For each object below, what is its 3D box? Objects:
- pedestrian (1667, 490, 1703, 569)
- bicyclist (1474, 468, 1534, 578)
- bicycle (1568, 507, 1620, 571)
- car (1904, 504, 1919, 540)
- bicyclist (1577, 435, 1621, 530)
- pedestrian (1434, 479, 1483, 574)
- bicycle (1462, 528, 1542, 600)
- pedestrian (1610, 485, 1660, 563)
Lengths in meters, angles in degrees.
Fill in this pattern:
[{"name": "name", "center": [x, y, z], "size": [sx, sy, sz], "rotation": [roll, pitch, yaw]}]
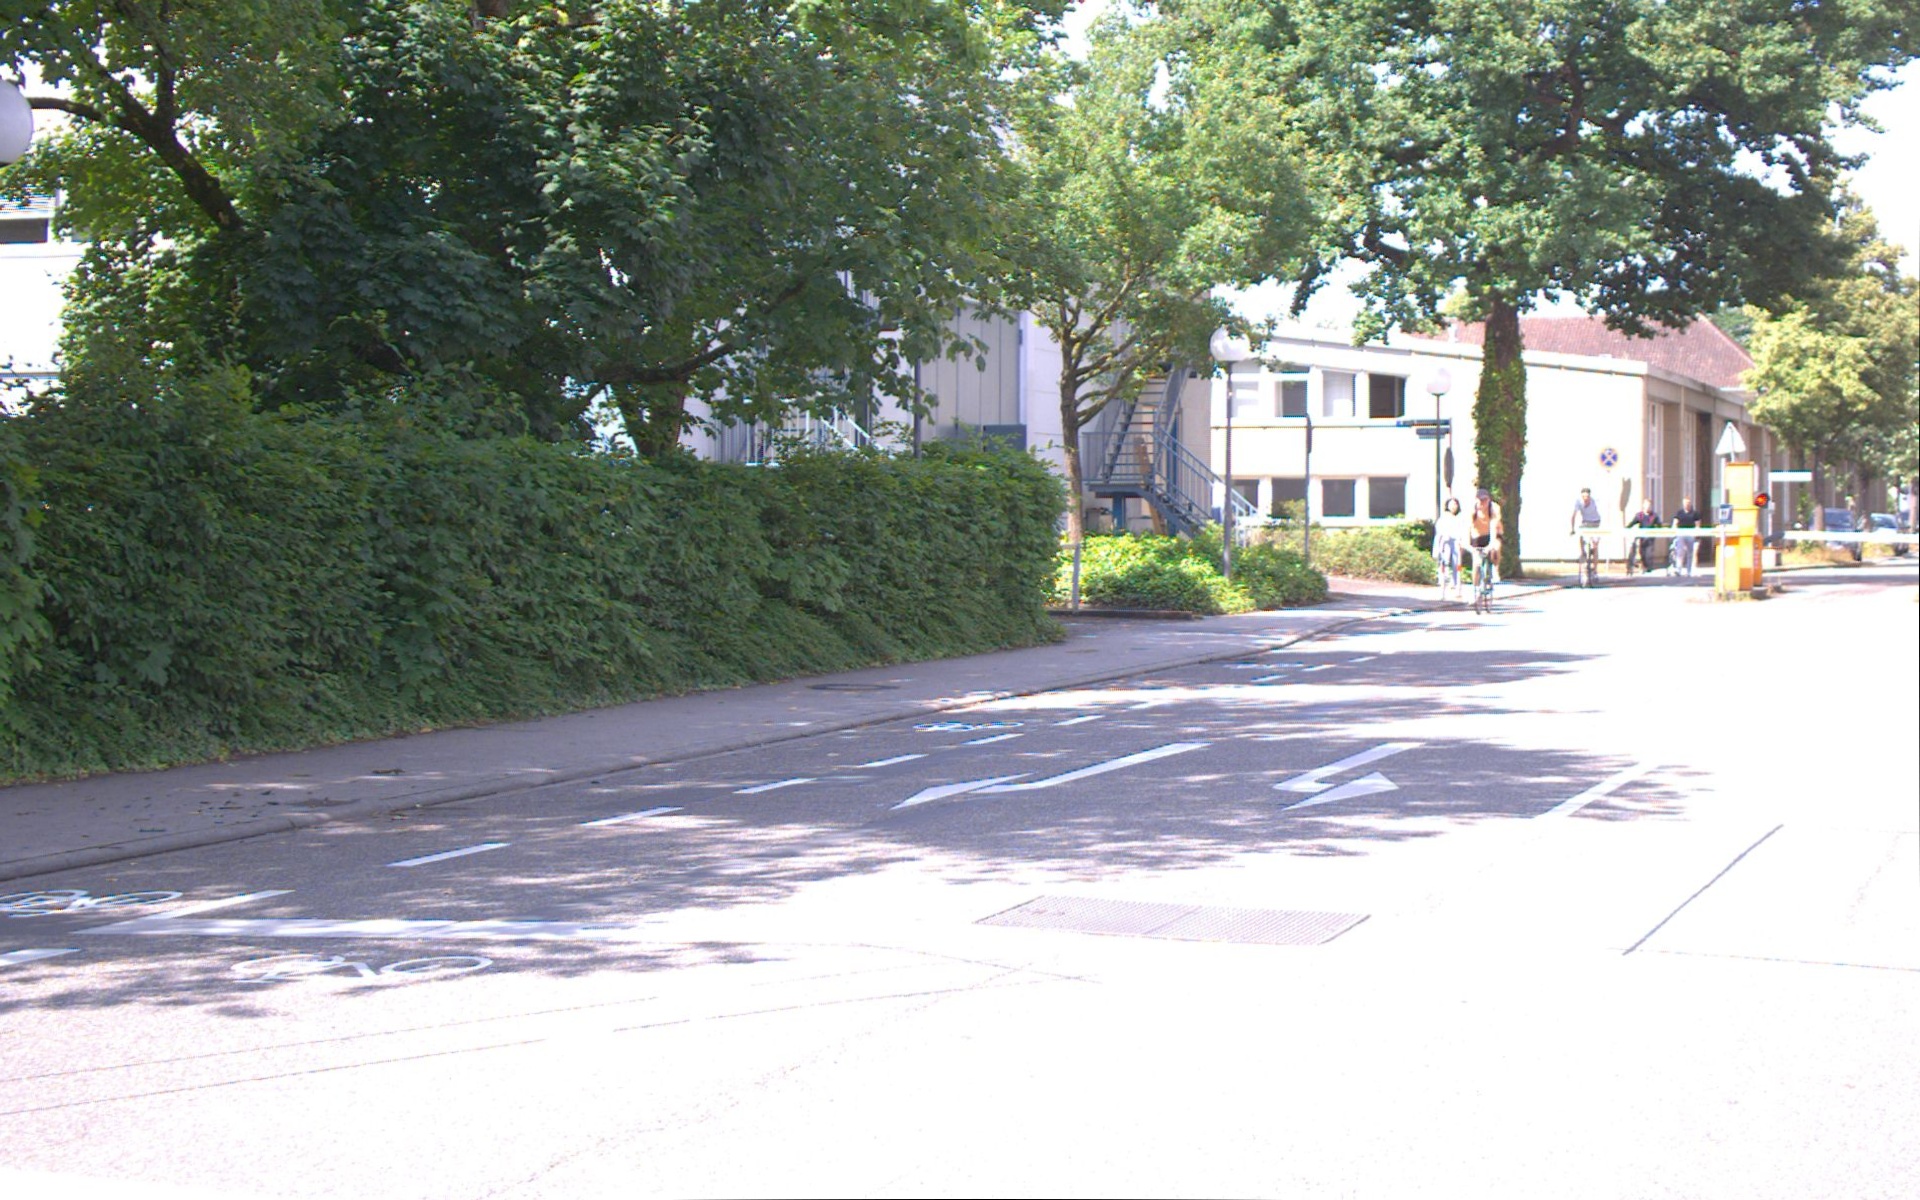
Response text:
[{"name": "pedestrian", "center": [16.676, -1.625, 79.063], "size": [0.705, 1.803, 1.001], "rotation": [0, 2, 17]}, {"name": "bicyclist", "center": [7.735, -1.091, 48.866], "size": [0.693, 1.543, 1.017], "rotation": [0, 1, 18]}, {"name": "bicycle", "center": [11.717, -1.134, 63.493], "size": [0.693, 1.167, 2.208], "rotation": [0, 1, 18]}, {"name": "car", "center": [42.232, -3.400, 149.500], "size": [1.995, 1.540, 4.208], "rotation": [1, 2, 19]}, {"name": "bicyclist", "center": [11.772, -2.167, 63.337], "size": [0.693, 1.730, 0.918], "rotation": [0, 1, 18]}, {"name": "pedestrian", "center": [8.574, -1.273, 59.130], "size": [0.713, 1.621, 0.883], "rotation": [0, 2, 17]}, {"name": "bicycle", "center": [7.706, -0.524, 48.803], "size": [0.793, 0.985, 2.208], "rotation": [0, 1, 18]}, {"name": "pedestrian", "center": [15.759, -1.768, 80.246], "size": [1.057, 1.809, 0.805], "rotation": [0, 2, 17]}]
